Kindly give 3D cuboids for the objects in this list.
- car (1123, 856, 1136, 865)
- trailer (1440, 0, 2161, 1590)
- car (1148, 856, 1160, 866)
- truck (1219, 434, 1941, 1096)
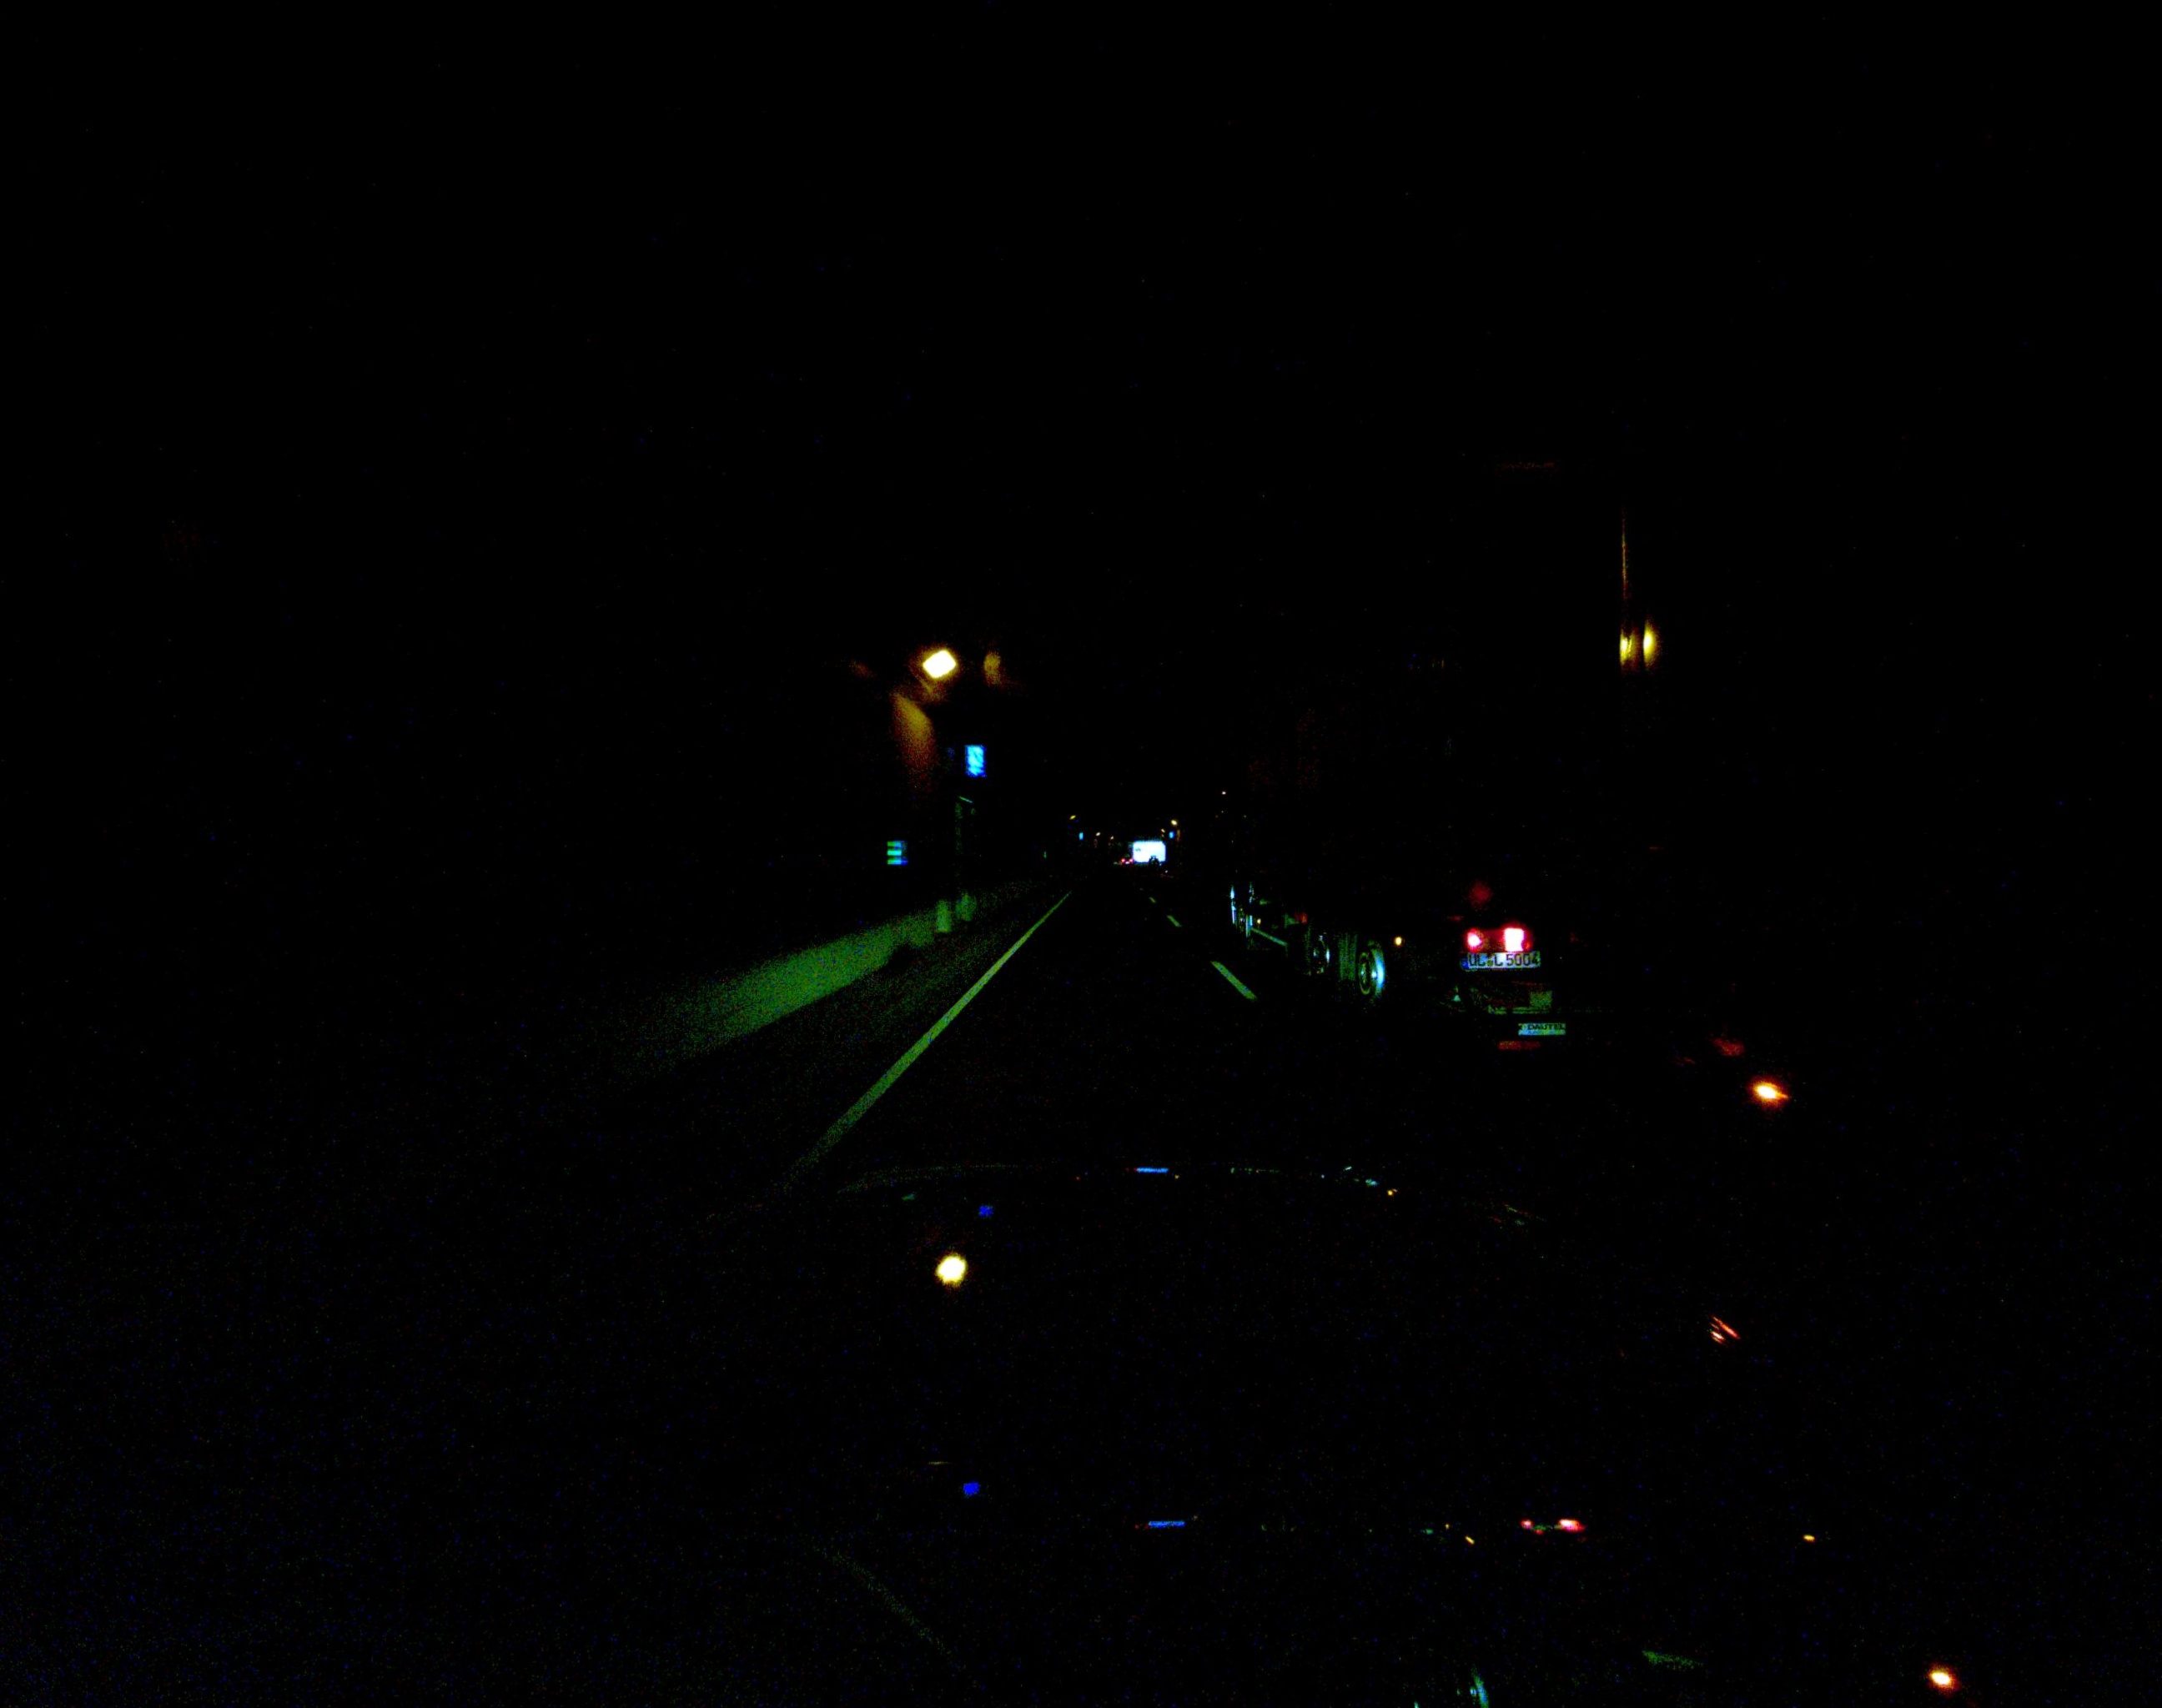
[{"bbox_3d":[7.599,1.077,126.989,1.831,1.388,4.008,-1,-1,7],"label":"car"},{"bbox_3d":[3.433,-0.542,0.355,2.864,3.858,8.952,-1,0,2],"label":"trailer"},{"bbox_3d":[13.126,1.219,146.263,1.859,1.732,4.008,-1,-1,8],"label":"car"},{"bbox_3d":[3.797,-0.516,9.806,2.878,3.913,9.913,-1,0,2],"label":"truck"}]
